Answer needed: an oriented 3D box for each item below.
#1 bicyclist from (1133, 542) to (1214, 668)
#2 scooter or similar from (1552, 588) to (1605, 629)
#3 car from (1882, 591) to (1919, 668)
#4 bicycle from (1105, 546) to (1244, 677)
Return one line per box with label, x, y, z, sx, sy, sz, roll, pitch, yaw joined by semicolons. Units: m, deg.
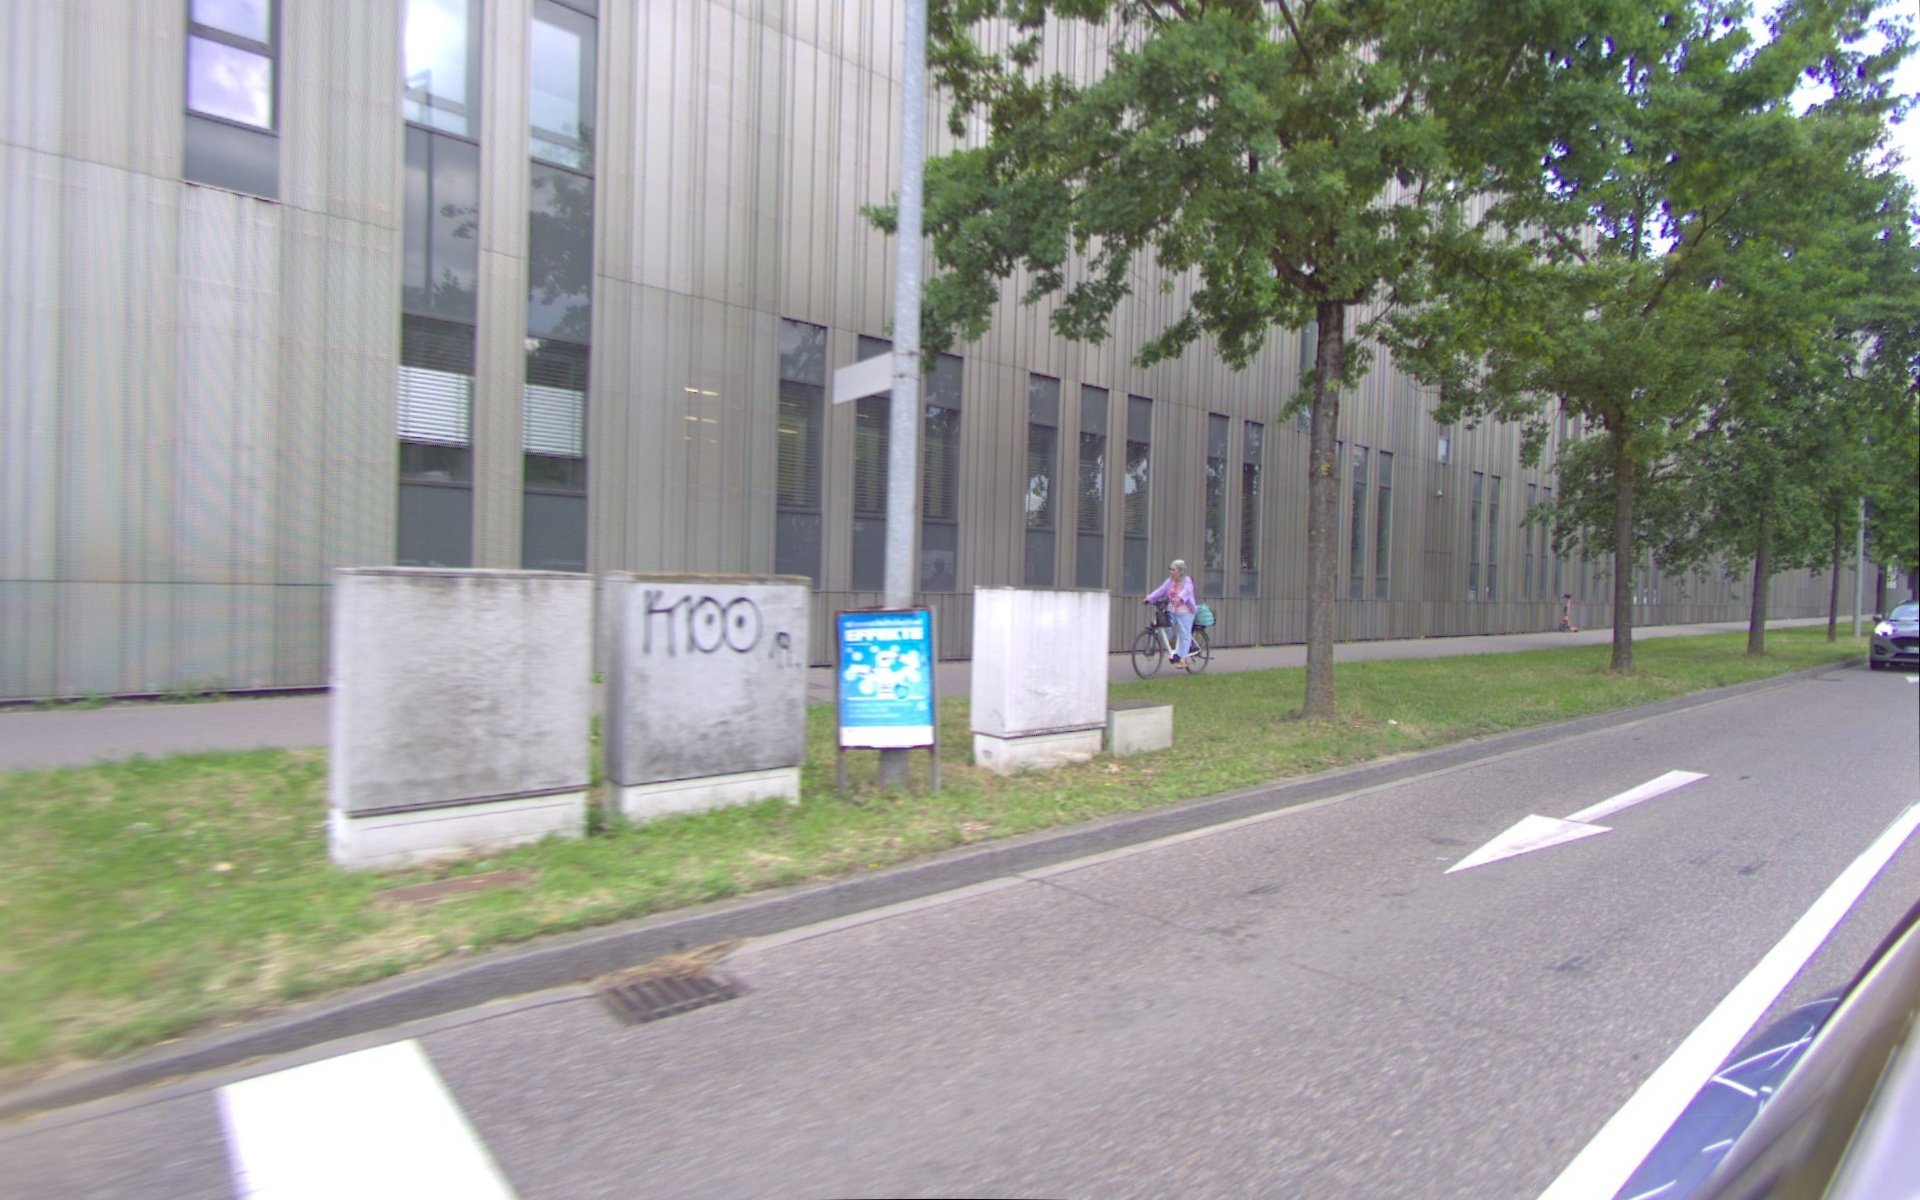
bicyclist;3.164;0.050;14.983;0.972;1.791;0.716;0;2;-44
scooter or similar;19.985;0.256;32.664;2.436;1.261;0.706;0;3;-41
car;21.550;0.620;21.974;3.884;1.594;1.822;0;0;-41
bicycle;3.230;0.143;15.045;2.492;1.796;0.720;0;2;-45
